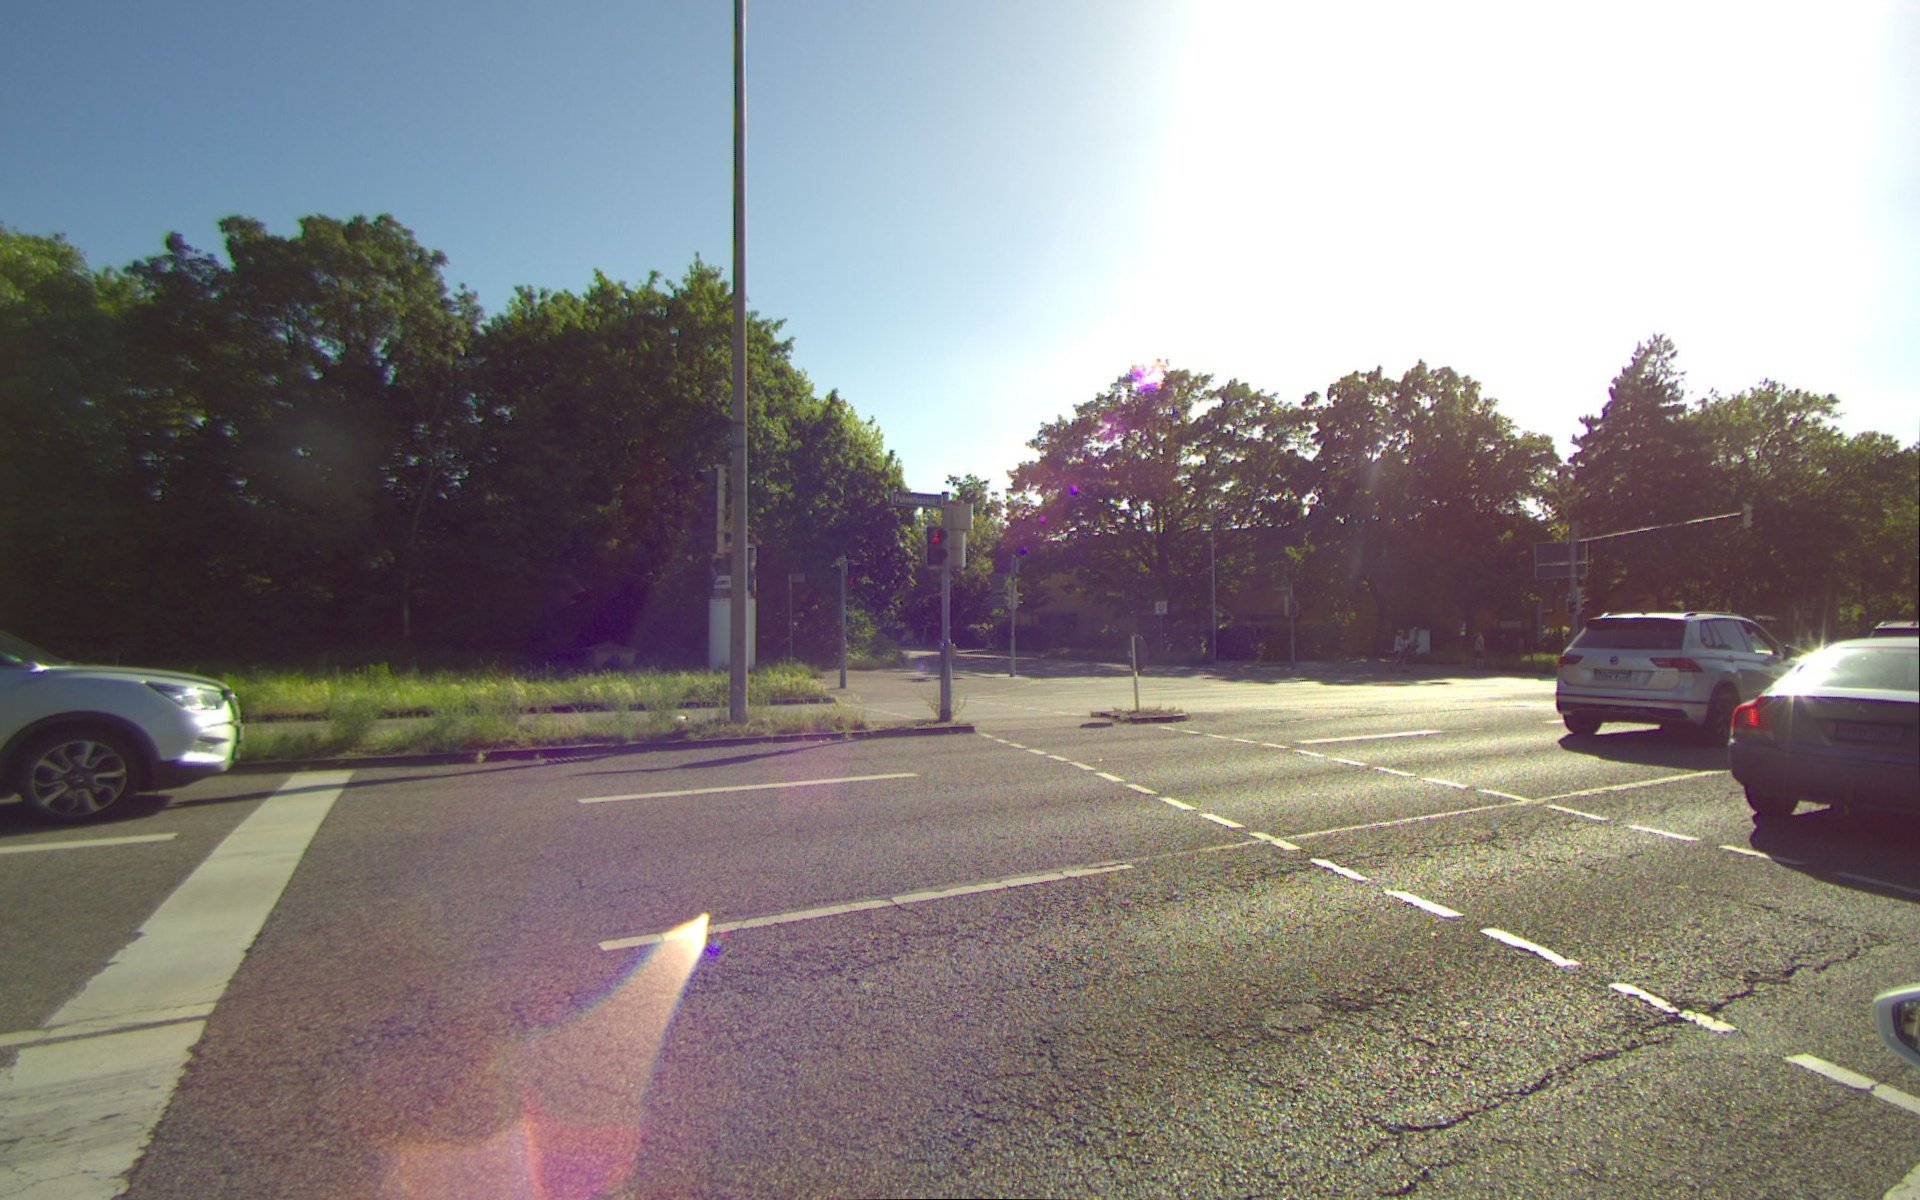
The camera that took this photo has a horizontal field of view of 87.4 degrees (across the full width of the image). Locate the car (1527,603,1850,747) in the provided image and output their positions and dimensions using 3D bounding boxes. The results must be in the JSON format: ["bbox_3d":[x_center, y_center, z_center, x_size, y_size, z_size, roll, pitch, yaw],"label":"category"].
[{"bbox_3d":[10.018,0.944,13.767,4.312,1.675,1.934,2,0,-29],"label":"car"}]

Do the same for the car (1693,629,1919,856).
[{"bbox_3d":[7.791,0.991,7.936,4.318,1.413,1.826,2,0,-33],"label":"car"}]

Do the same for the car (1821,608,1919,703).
[{"bbox_3d":[18.757,1.059,19.496,4.317,1.675,1.900,2,0,-32],"label":"car"}]

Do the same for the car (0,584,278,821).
[{"bbox_3d":[-7.364,0.691,7.050,4.149,1.558,1.821,2,-3,-32],"label":"car"}]
